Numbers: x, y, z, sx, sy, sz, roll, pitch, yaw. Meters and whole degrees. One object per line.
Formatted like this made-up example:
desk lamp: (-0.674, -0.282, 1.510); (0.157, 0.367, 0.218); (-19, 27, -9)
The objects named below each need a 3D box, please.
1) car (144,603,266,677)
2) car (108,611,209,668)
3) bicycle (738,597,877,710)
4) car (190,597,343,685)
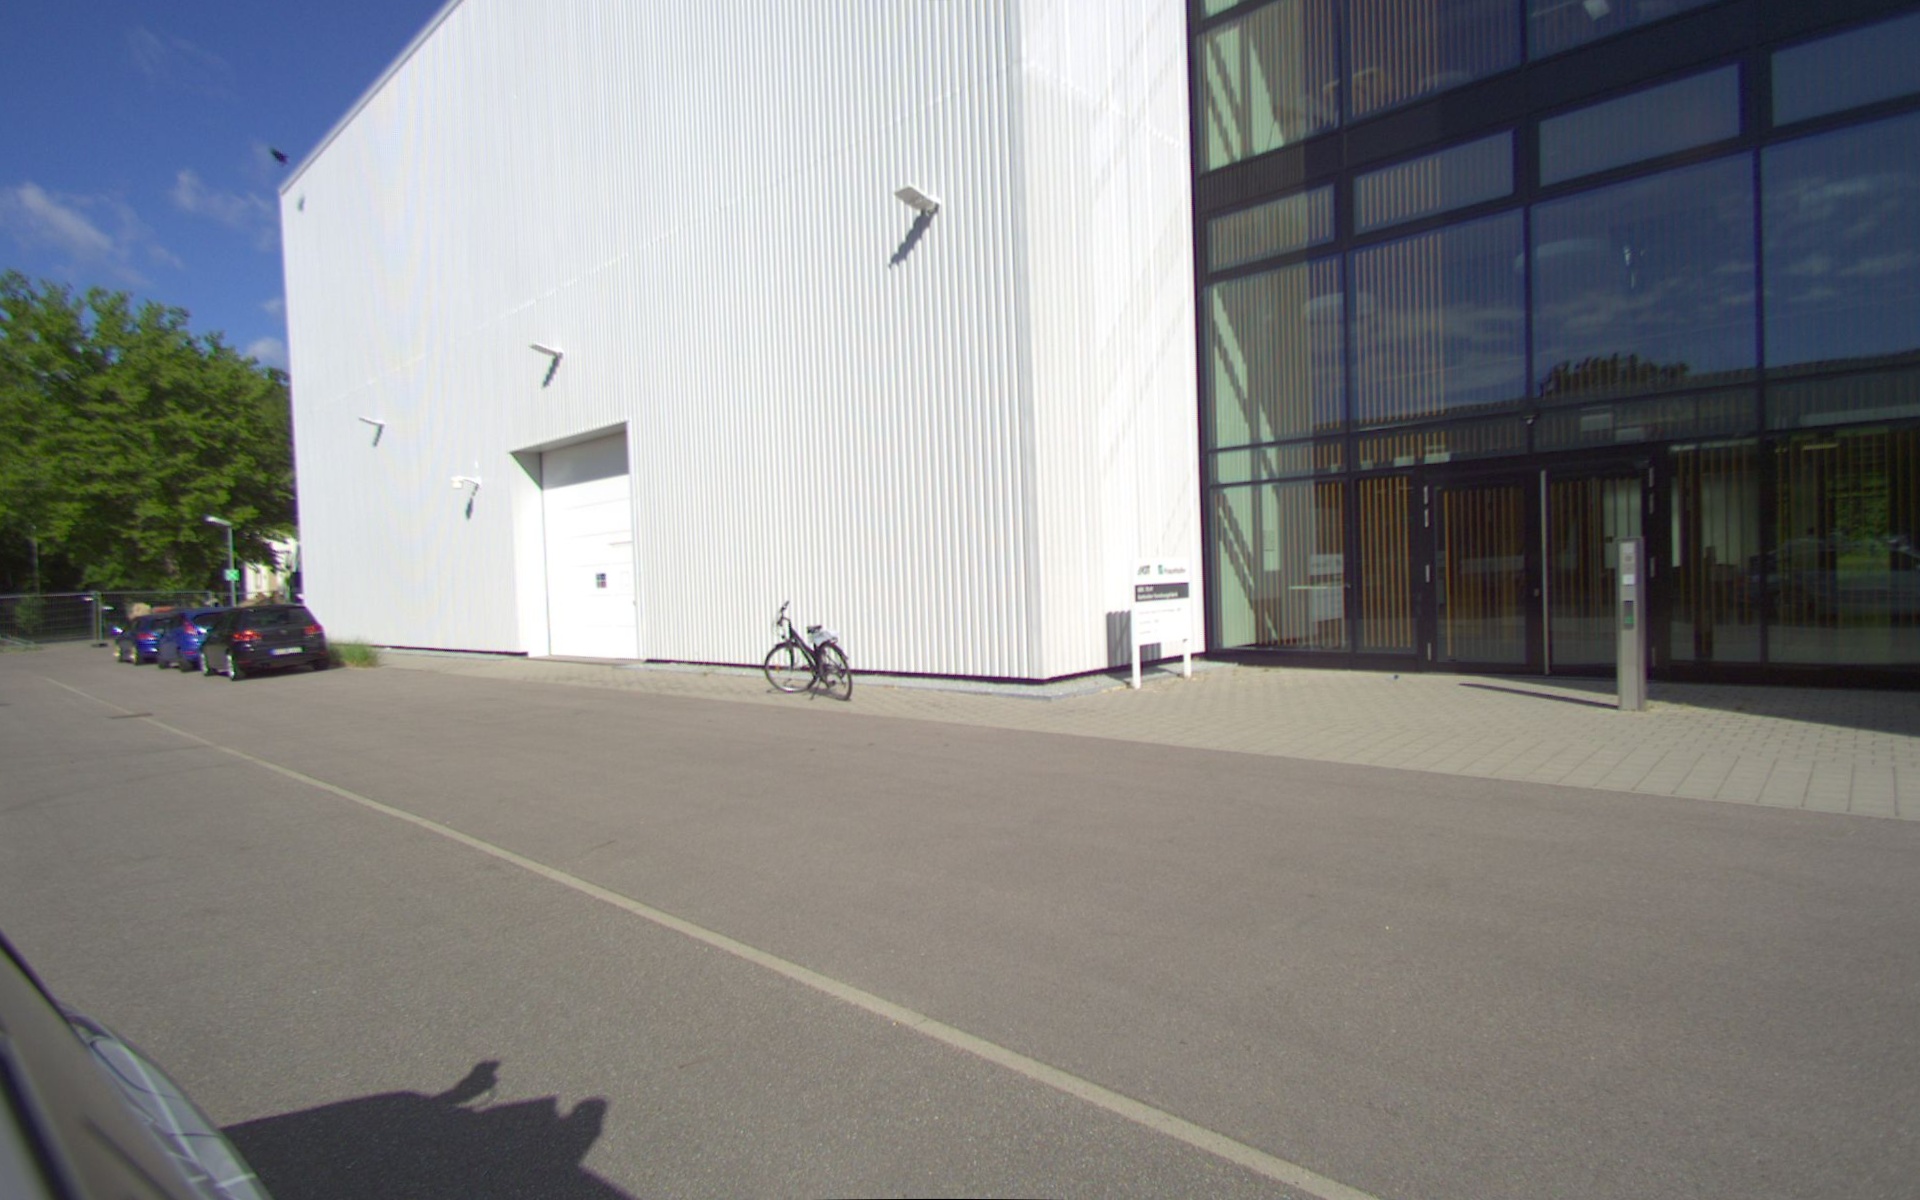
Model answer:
car: (-18.753, 0.940, 25.080); (4.002, 1.533, 1.766); (-1, 4, 45)
car: (-22.831, 1.078, 28.770); (4.002, 1.451, 1.765); (-1, 0, 45)
bicycle: (-1.871, 0.587, 12.169); (0.895, 1.151, 1.905); (-6, 4, -32)
car: (-14.840, 0.823, 21.580); (4.002, 1.533, 1.870); (-1, 4, 45)
